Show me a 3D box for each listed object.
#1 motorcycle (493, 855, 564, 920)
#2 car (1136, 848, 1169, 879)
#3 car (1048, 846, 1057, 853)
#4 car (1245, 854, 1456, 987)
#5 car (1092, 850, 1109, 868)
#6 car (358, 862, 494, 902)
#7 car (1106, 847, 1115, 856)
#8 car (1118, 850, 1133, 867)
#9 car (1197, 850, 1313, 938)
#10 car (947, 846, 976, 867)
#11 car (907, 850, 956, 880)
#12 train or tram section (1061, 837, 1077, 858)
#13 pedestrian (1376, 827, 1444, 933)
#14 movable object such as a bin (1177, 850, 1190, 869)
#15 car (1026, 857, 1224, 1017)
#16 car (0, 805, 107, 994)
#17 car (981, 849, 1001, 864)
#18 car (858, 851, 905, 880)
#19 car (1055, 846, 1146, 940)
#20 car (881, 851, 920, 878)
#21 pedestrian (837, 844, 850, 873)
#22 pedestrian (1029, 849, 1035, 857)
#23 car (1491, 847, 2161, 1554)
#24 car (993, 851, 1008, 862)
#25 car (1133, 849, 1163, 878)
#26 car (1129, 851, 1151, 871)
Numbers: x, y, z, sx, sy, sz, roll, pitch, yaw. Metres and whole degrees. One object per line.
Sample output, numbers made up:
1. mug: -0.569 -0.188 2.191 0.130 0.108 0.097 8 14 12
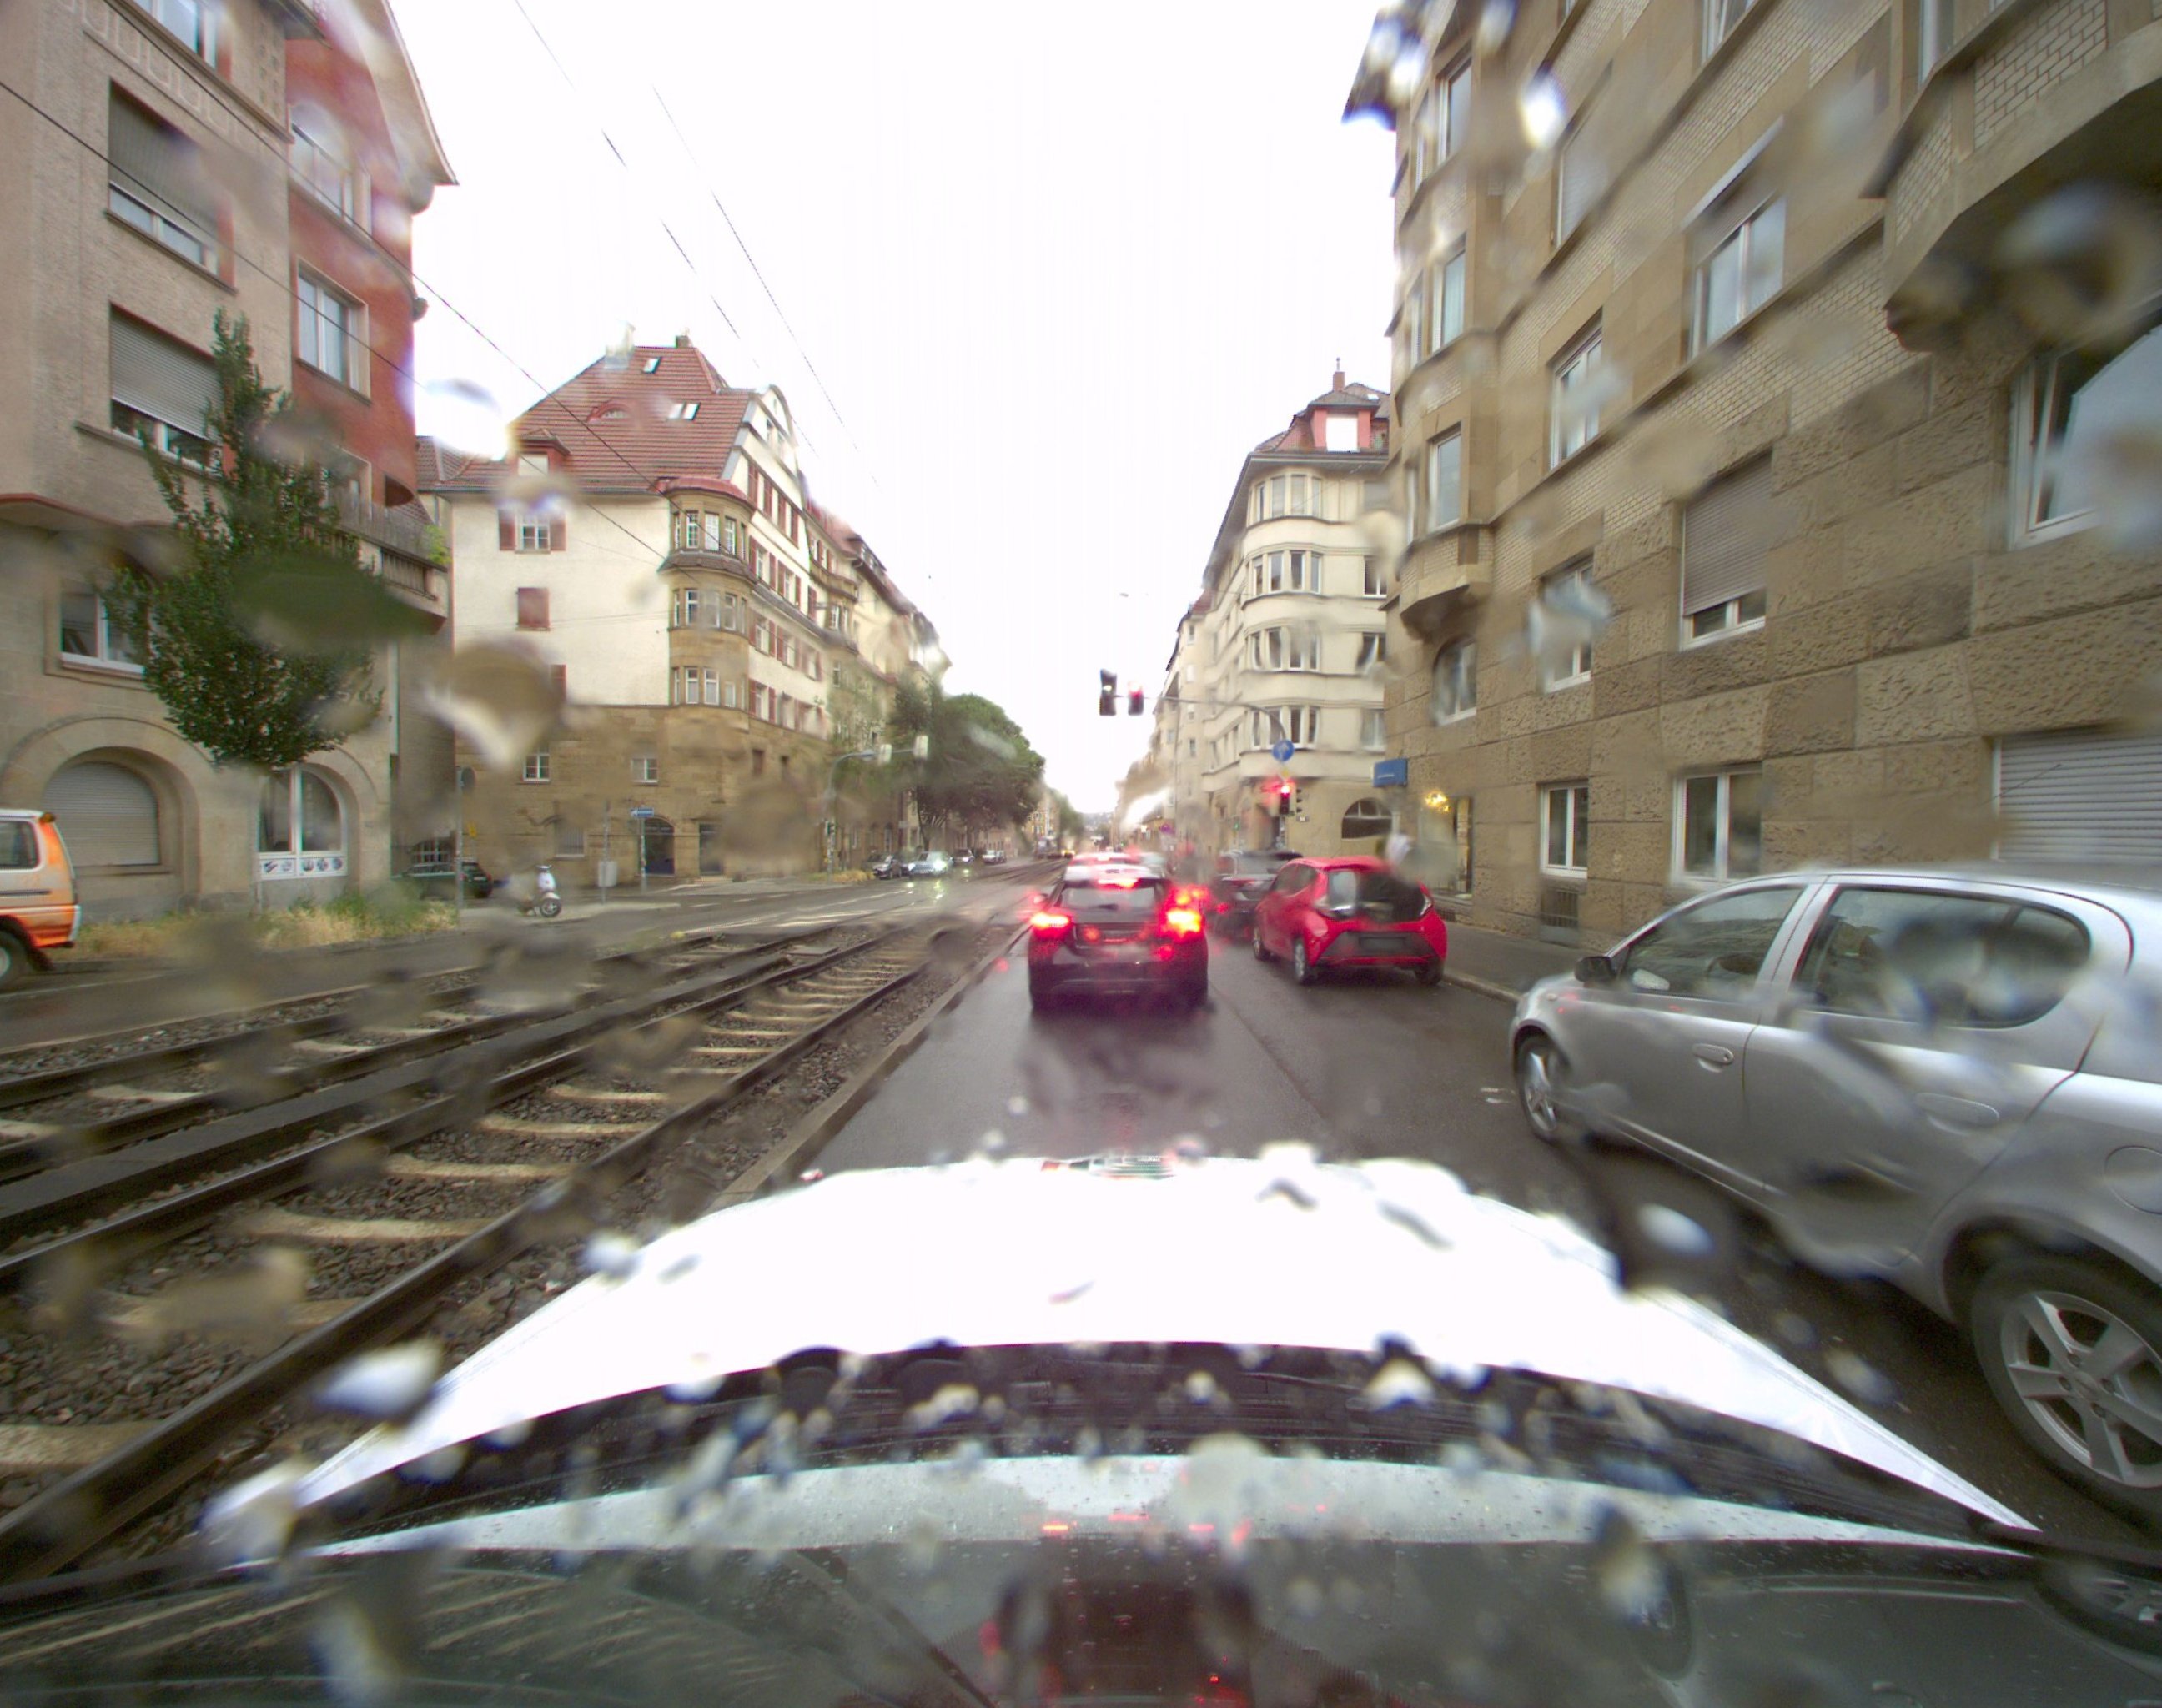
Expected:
1. motorcycle: -12.061 0.714 17.769 1.577 1.365 0.628 -1 -1 28
2. car: 3.707 0.477 42.705 1.539 1.590 3.549 0 0 2
3. car: -5.362 -0.864 153.575 1.372 1.249 3.297 0 -1 0
4. car: 3.283 0.726 10.569 1.637 1.448 3.298 0 0 -1
5. car: 1.825 0.465 75.370 1.539 1.636 3.686 0 0 1
6. car: -24.378 1.022 30.412 3.633 1.404 1.699 0 -1 -3
7. car: 6.829 -0.584 186.823 1.986 1.876 4.001 0 -1 2
8. car: 4.032 0.401 73.677 1.289 1.442 2.930 0 0 2
9. car: 3.249 0.681 15.813 1.539 1.486 3.831 0 0 2
10. car: -10.590 0.222 72.143 1.868 1.737 3.920 0 -1 2
11. car: -8.264 0.584 45.434 1.891 1.588 3.974 0 -1 2
12. train or tram section: -2.314 -1.201 160.393 2.772 3.861 10.433 0 -1 2
13. pedestrian: 5.641 0.433 14.023 0.739 1.748 1.111 0 -1 2
14. movable object such as a bin: 7.480 0.417 59.559 0.873 1.389 0.984 -1 -1 5
15. car: 0.472 0.775 9.567 1.822 1.458 4.105 0 0 2
16. car: -12.117 0.470 7.213 1.725 1.975 4.341 0 -1 0
17. car: -9.861 0.316 89.601 1.583 1.581 3.920 0 -1 2
18. car: -11.249 0.645 46.120 1.747 1.552 4.033 0 -1 -2
19. car: 0.399 0.694 15.962 1.559 1.609 3.815 0 -1 2
20. car: -11.280 0.651 51.155 1.713 1.611 3.914 0 -1 -3
21. pedestrian: -13.887 0.258 47.664 0.630 1.672 0.701 0 -1 -7
22. pedestrian: -10.999 -0.210 183.244 1.049 1.957 1.043 1 0 3
23. car: 3.152 0.732 3.103 1.608 1.467 3.314 -2 0 3
24. car: -9.791 0.304 99.016 1.443 1.331 3.271 0 -1 0
25. car: 3.848 0.521 47.179 1.539 1.590 3.549 0 0 2
26. car: 4.421 0.525 61.586 1.539 1.486 3.549 0 0 2
